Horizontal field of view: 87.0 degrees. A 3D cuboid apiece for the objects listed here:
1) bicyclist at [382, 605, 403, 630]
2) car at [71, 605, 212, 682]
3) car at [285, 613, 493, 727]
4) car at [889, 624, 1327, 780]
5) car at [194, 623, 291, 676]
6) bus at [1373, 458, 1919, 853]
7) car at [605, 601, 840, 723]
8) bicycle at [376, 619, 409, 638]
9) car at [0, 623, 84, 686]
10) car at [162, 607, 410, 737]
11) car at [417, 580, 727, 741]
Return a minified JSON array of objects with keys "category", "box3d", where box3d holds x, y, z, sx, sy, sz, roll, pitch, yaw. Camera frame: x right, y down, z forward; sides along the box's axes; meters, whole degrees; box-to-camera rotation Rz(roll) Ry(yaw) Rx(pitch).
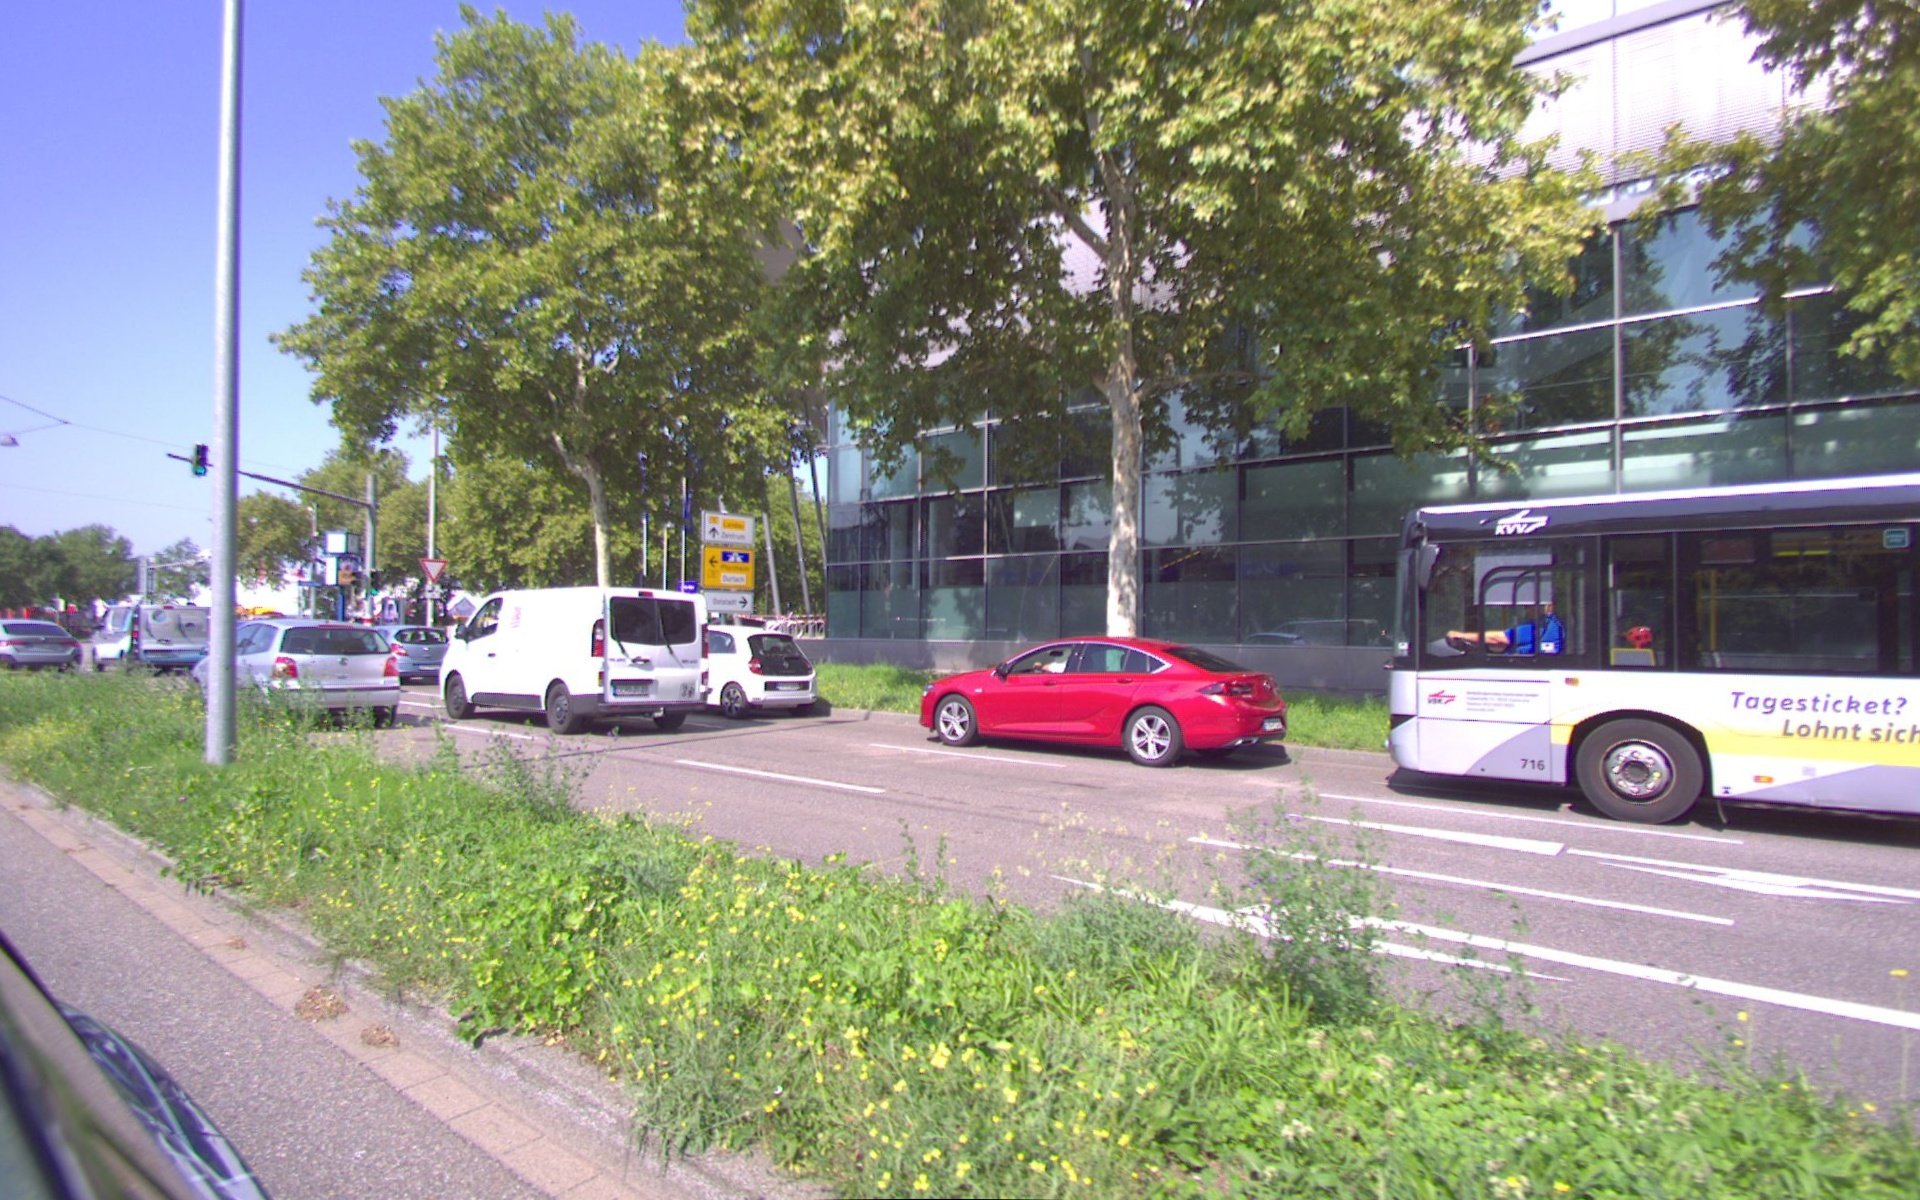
[{"category":"bicyclist","box3d":[-36.961,1.143,65.911,1.199,1.606,0.592,-4,-2,28]},{"category":"car","box3d":[-23.116,1.230,28.521,5.205,1.973,1.909,-2,-3,38]},{"category":"car","box3d":[-10.588,1.209,18.617,4.699,1.863,1.700,-1,-4,40]},{"category":"car","box3d":[1.643,1.121,12.558,5.206,1.522,1.762,0,-4,39]},{"category":"car","box3d":[-23.485,1.594,33.086,3.728,1.547,1.650,1,-3,40]},{"category":"bus","box3d":[8.828,0.433,6.871,10.893,2.715,2.636,-1,-4,39]},{"category":"car","box3d":[-4.232,1.037,17.826,3.970,1.910,1.909,-1,-4,38]},{"category":"bicycle","box3d":[-36.938,1.866,65.863,2.209,1.096,0.765,-4,-3,28]},{"category":"car","box3d":[-23.869,1.333,25.479,4.600,1.454,1.818,-1,-4,38]},{"category":"car","box3d":[-9.376,0.972,13.974,4.095,1.547,1.598,-2,-5,38]},{"category":"car","box3d":[-5.819,0.843,14.832,5.185,1.975,1.908,-1,-4,40]}]
